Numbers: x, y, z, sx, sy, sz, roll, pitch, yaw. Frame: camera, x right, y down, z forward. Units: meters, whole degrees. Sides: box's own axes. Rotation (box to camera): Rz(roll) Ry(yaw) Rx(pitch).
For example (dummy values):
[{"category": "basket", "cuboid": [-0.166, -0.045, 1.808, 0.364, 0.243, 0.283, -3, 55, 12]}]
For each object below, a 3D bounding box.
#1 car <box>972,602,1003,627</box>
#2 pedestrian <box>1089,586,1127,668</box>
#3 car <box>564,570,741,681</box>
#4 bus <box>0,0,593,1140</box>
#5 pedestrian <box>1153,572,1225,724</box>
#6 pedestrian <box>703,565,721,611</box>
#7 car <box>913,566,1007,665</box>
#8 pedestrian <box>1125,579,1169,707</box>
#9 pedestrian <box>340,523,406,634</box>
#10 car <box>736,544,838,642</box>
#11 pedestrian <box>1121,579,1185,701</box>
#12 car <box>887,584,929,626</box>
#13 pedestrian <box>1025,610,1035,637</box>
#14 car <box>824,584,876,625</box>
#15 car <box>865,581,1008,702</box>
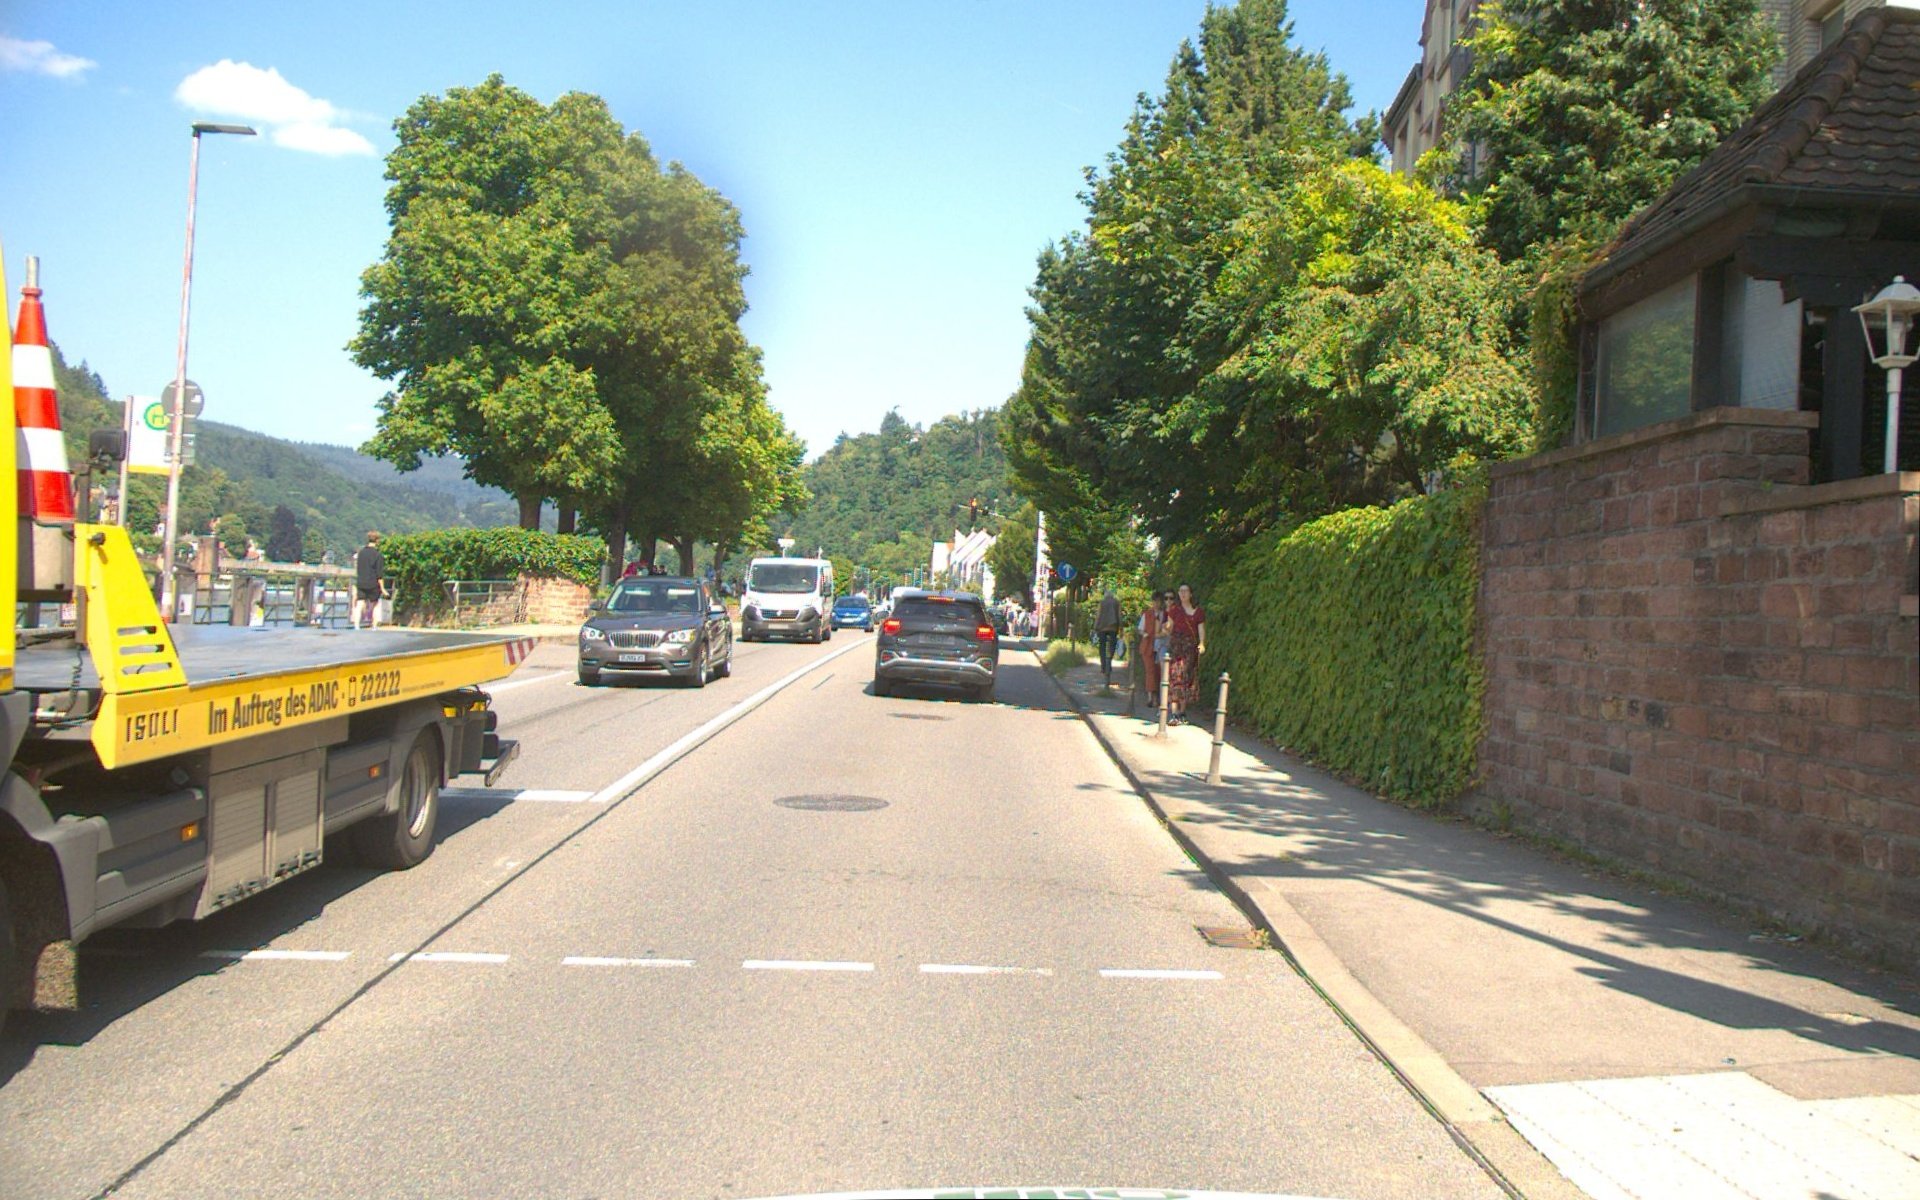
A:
[{"category": "car", "cuboid": [1.803, 0.975, 110.890, 1.953, 1.478, 4.008, 2, -2, 0]}, {"category": "pedestrian", "cuboid": [3.042, 0.547, 34.011, 0.713, 1.679, 0.882, 0, 0, 0]}, {"category": "car", "cuboid": [-4.367, 0.305, 24.138, 1.778, 1.422, 4.346, 2, 1, -1]}, {"category": "bus", "cuboid": [-3.774, -0.126, 7.115, 2.544, 2.947, 8.445, 2, 0, -1]}, {"category": "pedestrian", "cuboid": [2.765, 0.560, 20.025, 0.667, 1.772, 0.913, 3, 1, 0]}, {"category": "pedestrian", "cuboid": [-11.298, -0.543, 75.365, 0.627, 2.049, 0.730, 2, -2, 0]}, {"category": "car", "cuboid": [-0.018, 0.306, 37.453, 1.953, 2.048, 4.000, 2, 1, -1]}, {"category": "pedestrian", "cuboid": [2.453, 0.560, 21.702, 0.446, 1.634, 0.579, 2, 0, 0]}, {"category": "pedestrian", "cuboid": [-10.615, -0.375, 29.925, 0.738, 1.951, 1.009, 2, -2, 0]}, {"category": "car", "cuboid": [-4.522, -0.216, 44.040, 2.054, 2.342, 5.868, 2, 1, -1]}, {"category": "pedestrian", "cuboid": [2.705, 0.545, 23.263, 0.720, 1.662, 0.920, 2, 0, 0]}, {"category": "car", "cuboid": [-3.386, 0.356, 108.493, 2.443, 2.509, 5.619, 2, -2, 0]}, {"category": "pedestrian", "cuboid": [4.089, 1.376, 96.906, 0.479, 1.586, 0.461, 2, -2, 0]}, {"category": "car", "cuboid": [-4.529, 0.214, 68.481, 1.860, 1.515, 3.795, 2, -1, 0]}, {"category": "car", "cuboid": [-0.266, 0.572, 24.689, 1.818, 1.550, 4.001, 3, 0, 3]}]
